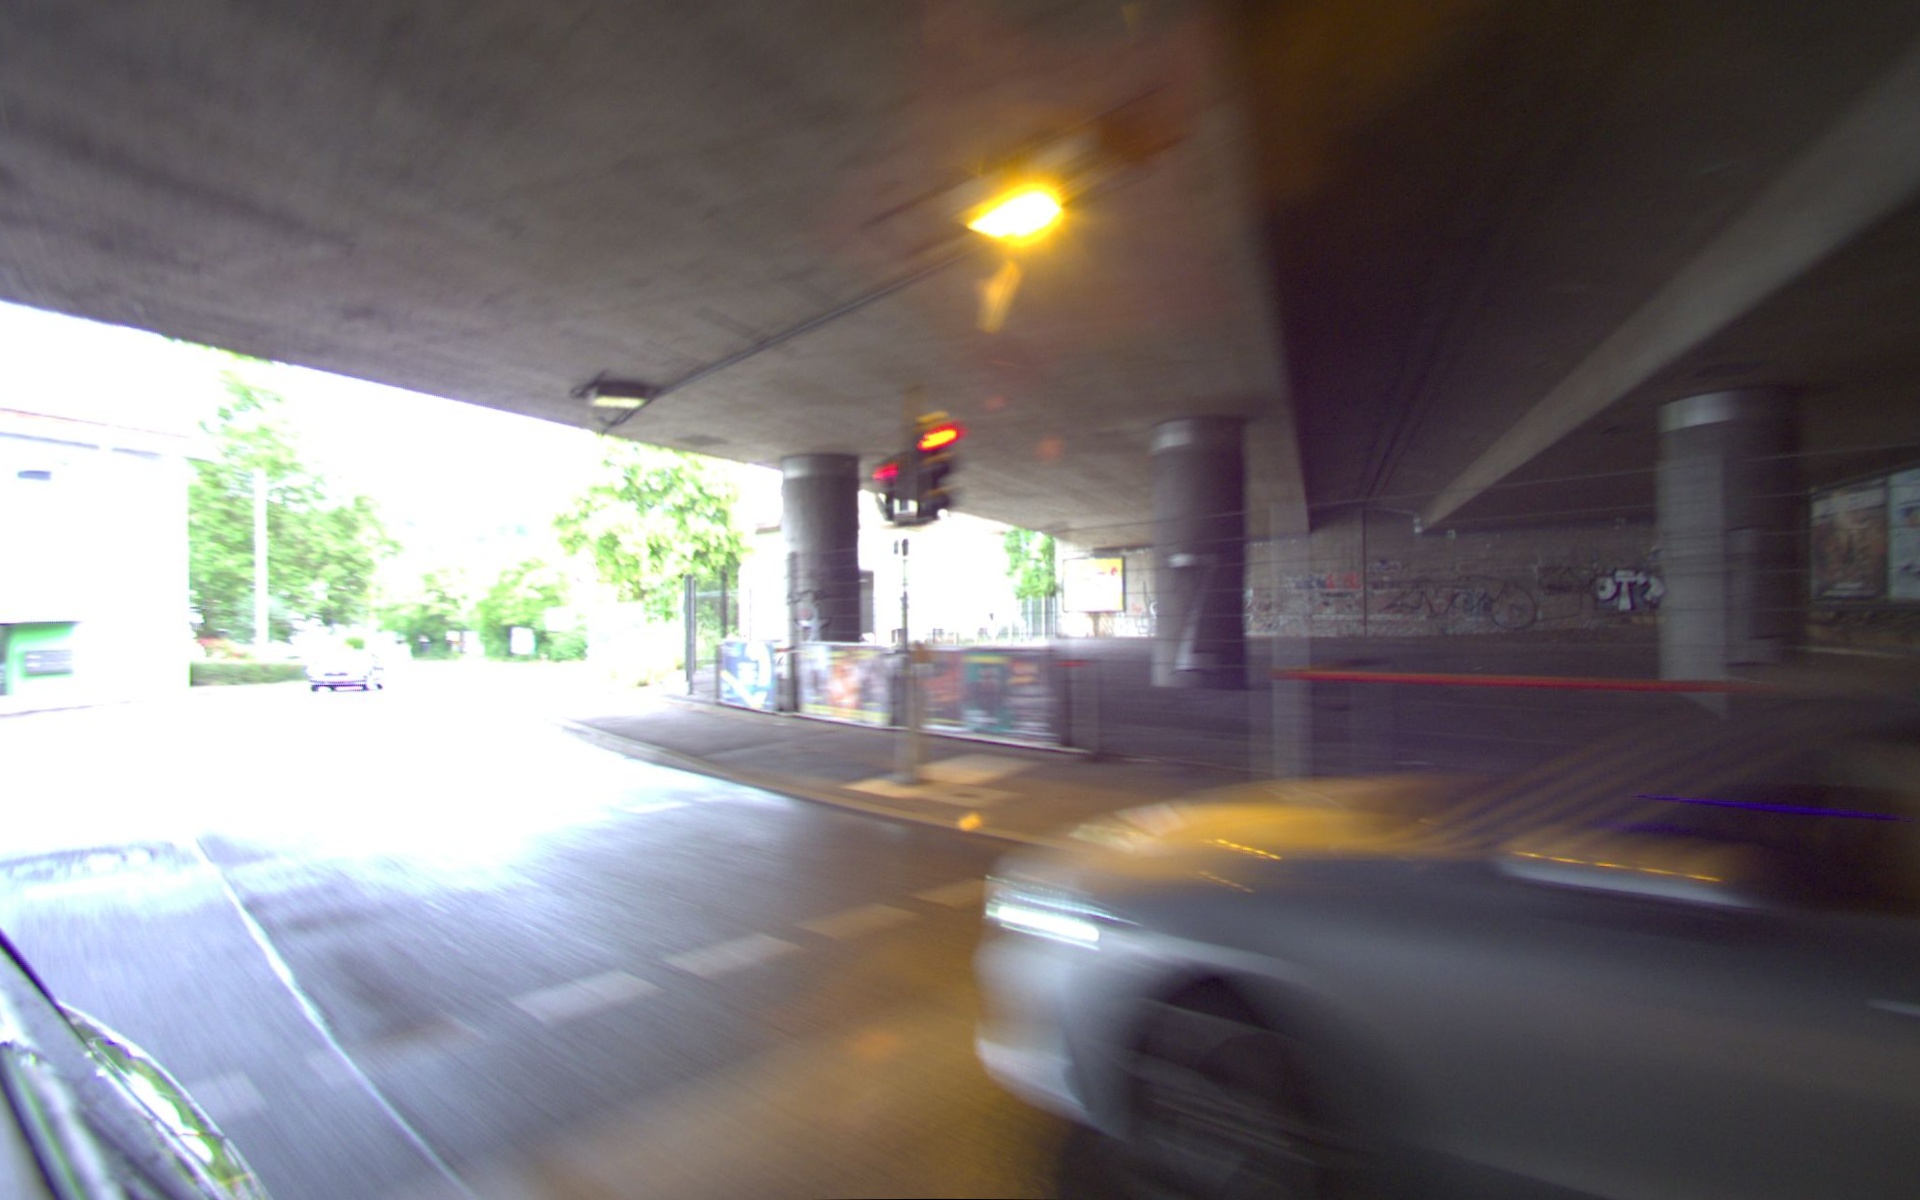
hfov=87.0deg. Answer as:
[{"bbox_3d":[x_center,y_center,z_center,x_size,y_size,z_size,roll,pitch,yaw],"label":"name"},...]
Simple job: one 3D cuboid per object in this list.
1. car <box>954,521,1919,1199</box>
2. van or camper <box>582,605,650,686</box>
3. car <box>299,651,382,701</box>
[{"bbox_3d":[2.341,0.669,2.017,4.494,1.541,1.974,-1,-2,39],"label":"car"},{"bbox_3d":[-15.760,2.140,46.511,2.661,3.360,7.784,-1,-3,-18],"label":"van or camper"},{"bbox_3d":[-21.262,2.580,34.893,1.679,1.569,4.012,-1,-3,-20],"label":"car"}]
